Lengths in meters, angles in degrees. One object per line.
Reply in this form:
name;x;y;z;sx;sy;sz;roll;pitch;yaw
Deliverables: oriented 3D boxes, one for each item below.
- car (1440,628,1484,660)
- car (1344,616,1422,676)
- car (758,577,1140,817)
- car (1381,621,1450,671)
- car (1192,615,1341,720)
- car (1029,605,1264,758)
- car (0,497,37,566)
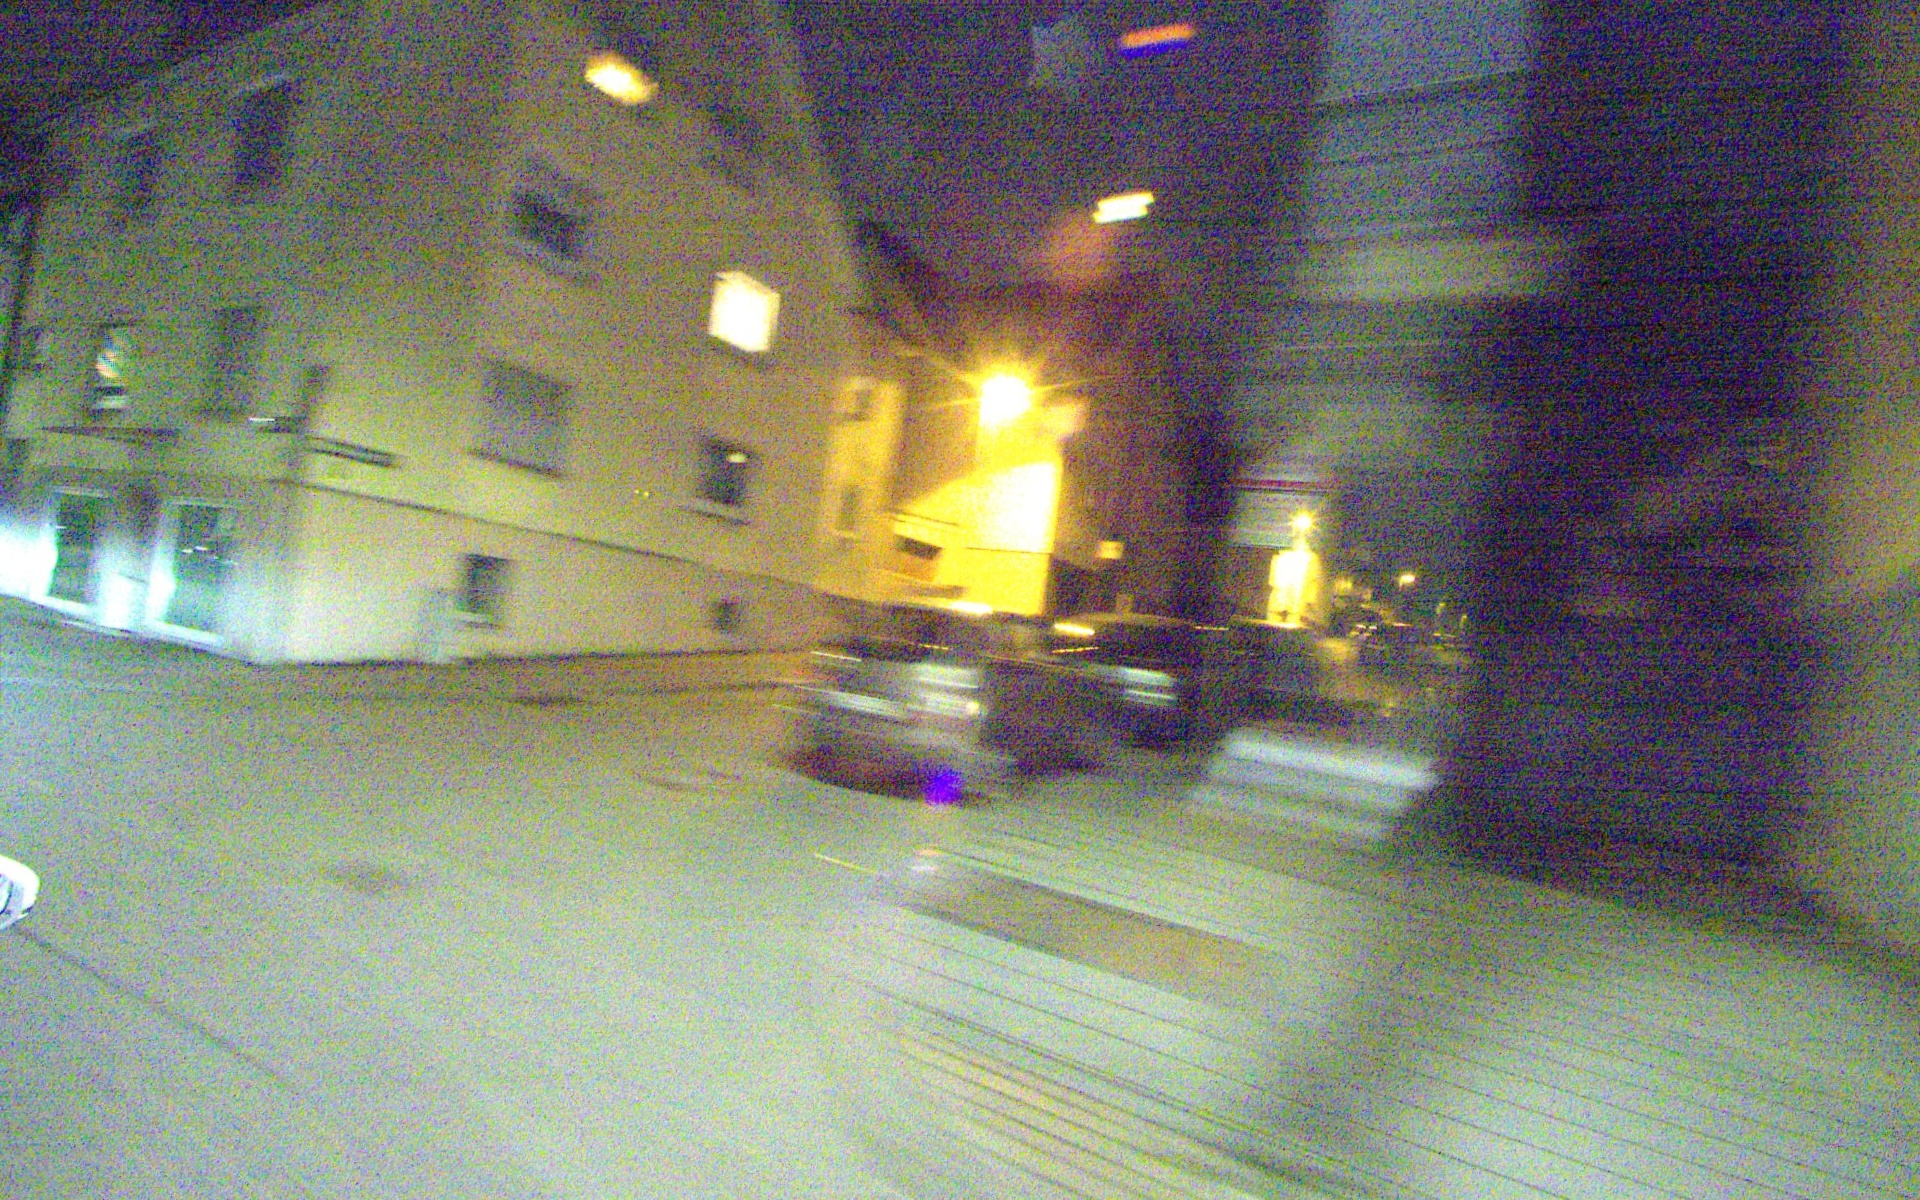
car;27.647;2.371;55.295;1.762;1.464;4.081;8;3;30
car;13.293;1.398;31.488;1.599;1.580;4.081;7;3;30
car;0.100;0.749;9.080;1.790;1.544;3.508;7;1;30
car;16.683;1.630;36.756;1.762;1.504;4.081;8;3;30
car;5.642;1.099;18.167;1.648;1.491;4.362;6;2;28
car;2.546;0.942;12.969;1.649;1.516;3.846;6;2;30
car;-23.221;-1.805;22.262;1.703;1.489;3.717;7;-3;33
